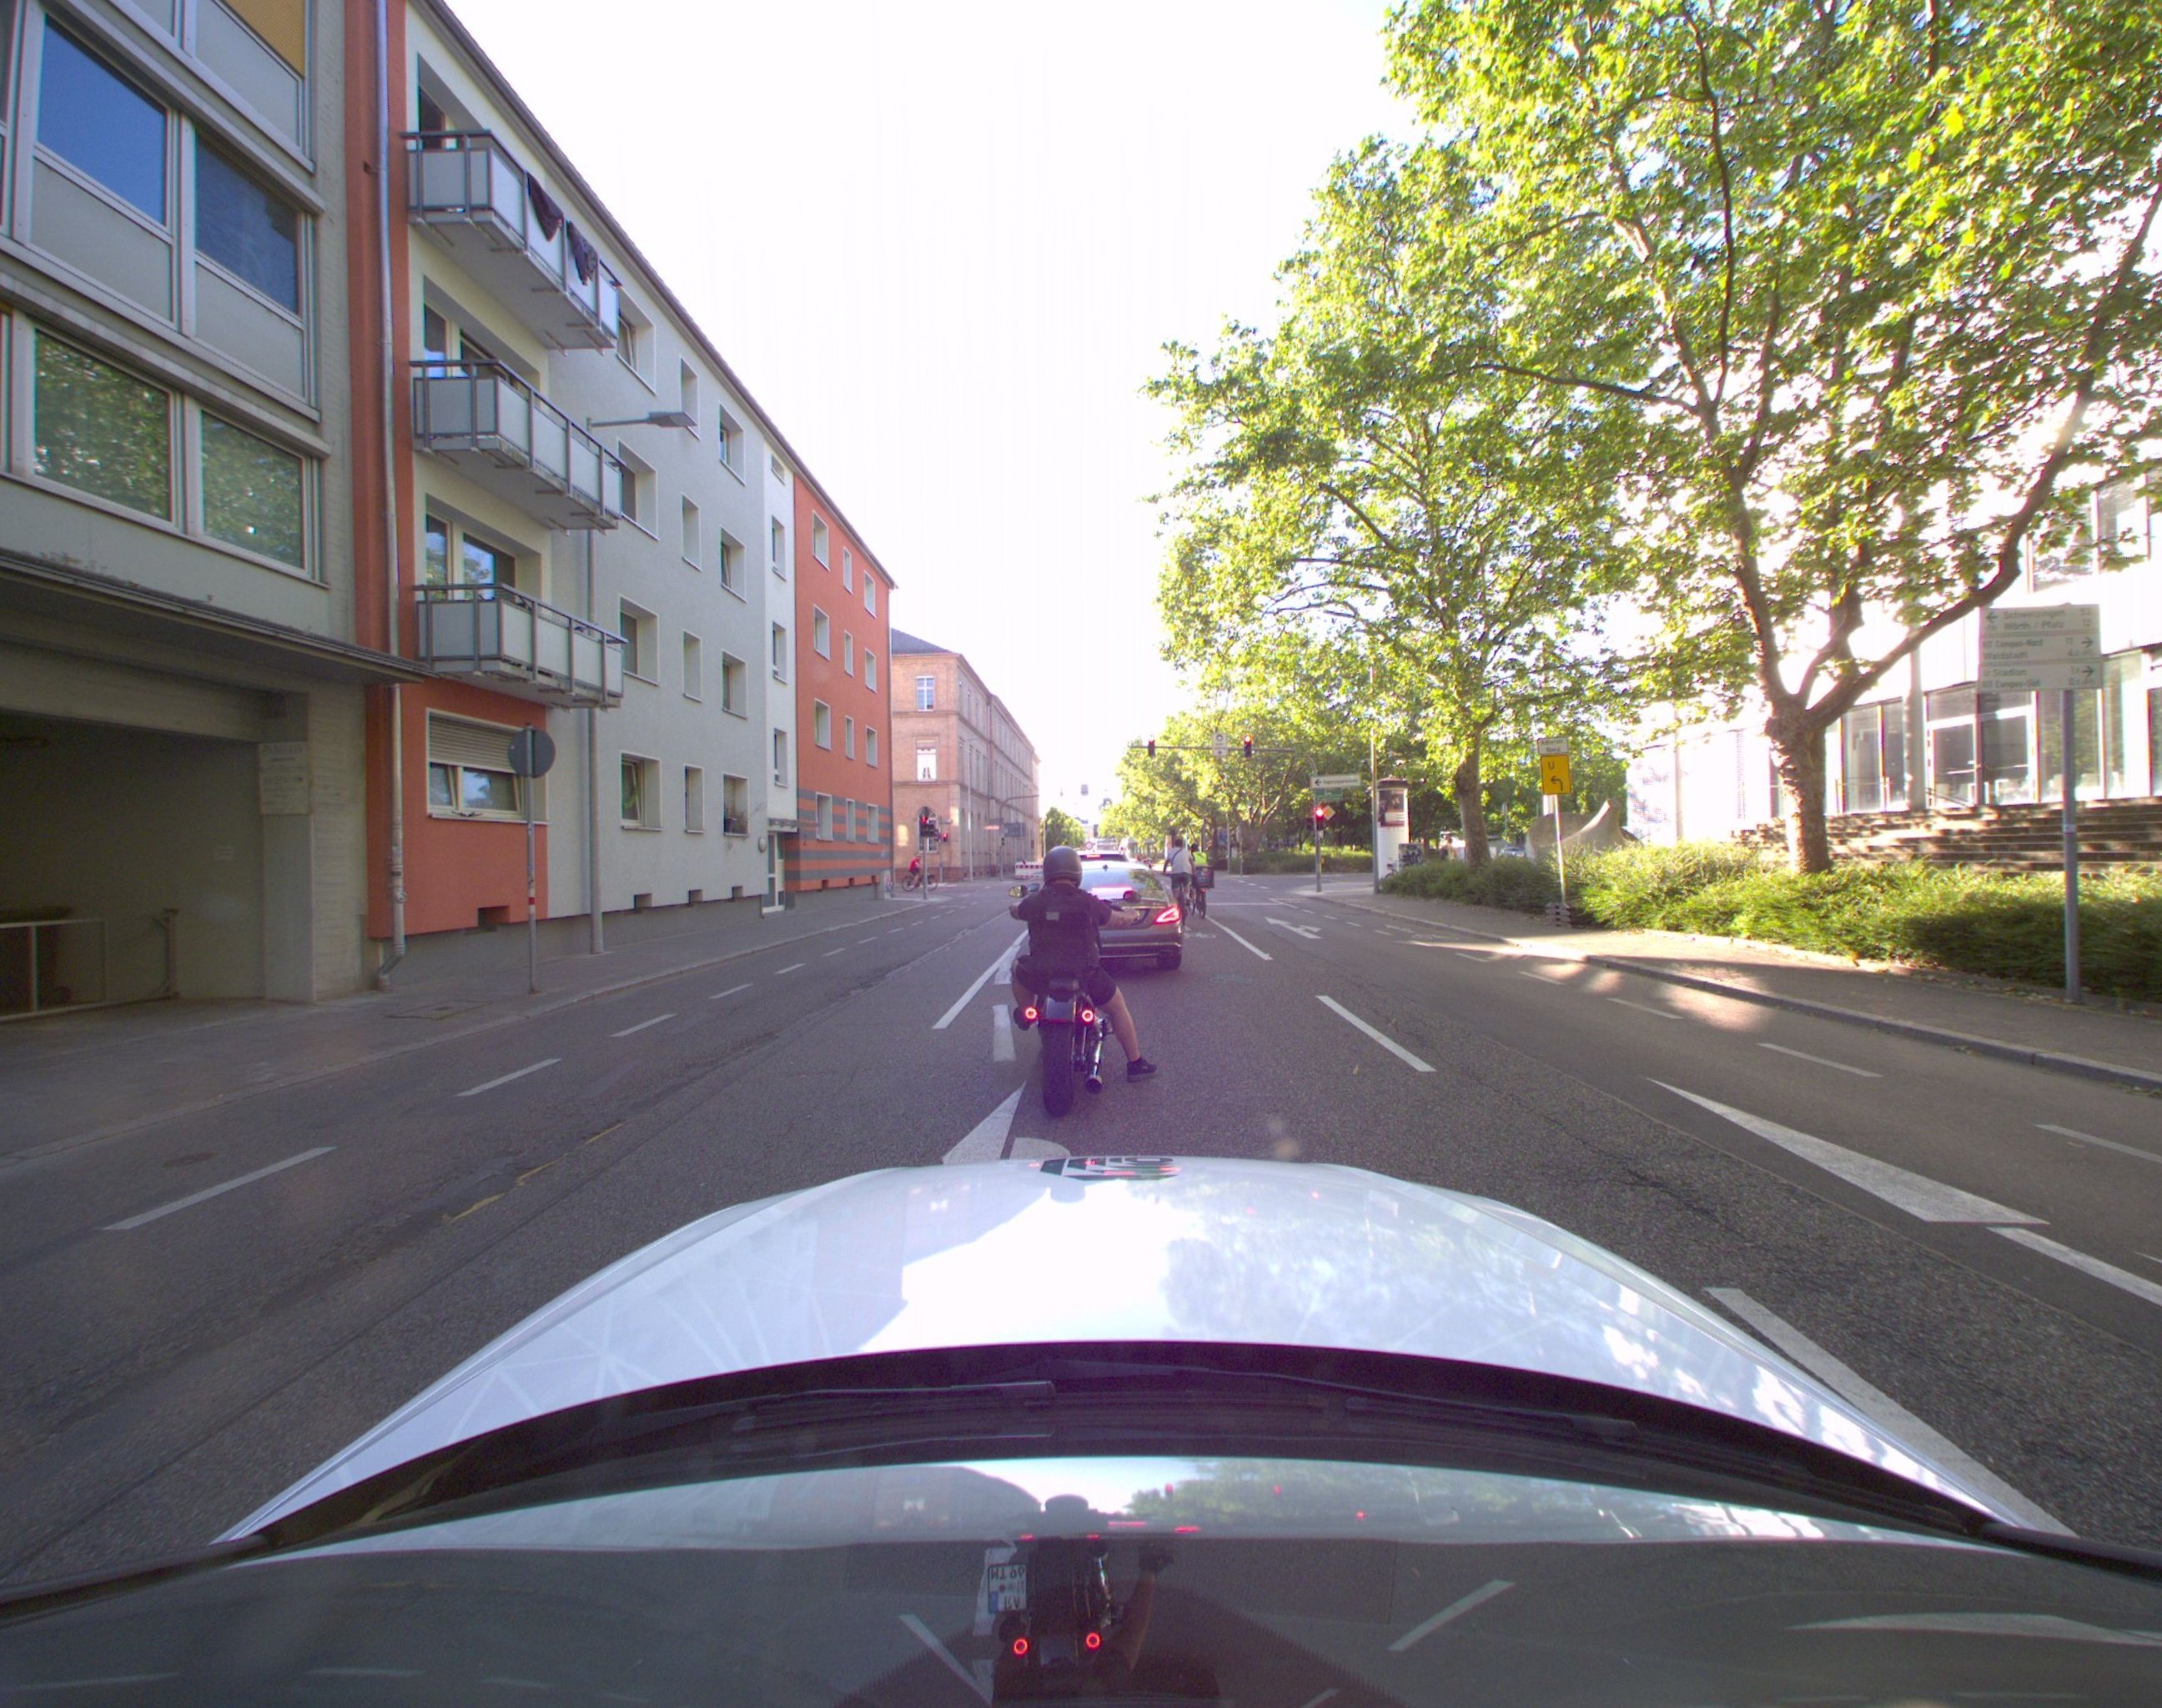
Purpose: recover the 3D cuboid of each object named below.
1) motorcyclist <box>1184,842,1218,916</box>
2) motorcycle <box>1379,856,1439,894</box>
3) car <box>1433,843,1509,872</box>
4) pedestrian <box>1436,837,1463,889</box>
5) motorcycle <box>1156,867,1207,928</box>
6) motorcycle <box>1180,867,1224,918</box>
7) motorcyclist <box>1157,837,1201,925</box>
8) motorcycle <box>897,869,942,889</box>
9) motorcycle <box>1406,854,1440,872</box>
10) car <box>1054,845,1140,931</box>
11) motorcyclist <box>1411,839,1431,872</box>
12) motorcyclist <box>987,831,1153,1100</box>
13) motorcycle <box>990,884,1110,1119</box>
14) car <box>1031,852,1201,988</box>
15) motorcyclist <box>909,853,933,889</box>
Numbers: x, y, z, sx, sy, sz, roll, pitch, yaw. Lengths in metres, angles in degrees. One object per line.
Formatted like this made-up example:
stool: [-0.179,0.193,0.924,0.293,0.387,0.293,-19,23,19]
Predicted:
motorcyclist: [2.879,0.590,19.645,0.714,1.743,0.751,0,-1,1]
motorcycle: [11.075,0.714,27.556,1.771,1.243,0.724,0,-1,7]
car: [24.635,0.206,51.534,3.974,1.772,1.738,-1,0,-1]
pedestrian: [13.252,0.332,29.279,0.645,1.827,0.667,-1,0,1]
motorcycle: [2.063,0.870,16.940,0.859,1.168,1.930,0,-1,2]
motorcycle: [2.888,0.895,19.706,0.794,1.131,2.237,0,-1,2]
motorcyclist: [2.047,0.548,17.097,0.828,1.788,0.913,0,-1,1]
motorcycle: [-7.696,1.187,38.848,2.001,0.962,0.581,0,-1,6]
motorcycle: [19.754,0.539,47.046,1.710,1.002,0.416,-1,0,6]
car: [0.379,0.668,17.790,1.645,1.652,4.002,0,-1,2]
motorcyclist: [19.664,0.101,47.061,0.978,1.876,0.377,-1,-1,6]
motorcyclist: [-0.050,0.674,5.461,0.986,1.611,1.121,0,-1,1]
motorcycle: [-0.139,0.858,5.554,0.657,1.240,2.058,0,-1,2]
car: [0.264,0.748,11.257,1.821,1.486,4.325,0,0,-5]
motorcyclist: [-7.629,0.799,38.854,0.980,1.722,0.551,0,-1,6]
